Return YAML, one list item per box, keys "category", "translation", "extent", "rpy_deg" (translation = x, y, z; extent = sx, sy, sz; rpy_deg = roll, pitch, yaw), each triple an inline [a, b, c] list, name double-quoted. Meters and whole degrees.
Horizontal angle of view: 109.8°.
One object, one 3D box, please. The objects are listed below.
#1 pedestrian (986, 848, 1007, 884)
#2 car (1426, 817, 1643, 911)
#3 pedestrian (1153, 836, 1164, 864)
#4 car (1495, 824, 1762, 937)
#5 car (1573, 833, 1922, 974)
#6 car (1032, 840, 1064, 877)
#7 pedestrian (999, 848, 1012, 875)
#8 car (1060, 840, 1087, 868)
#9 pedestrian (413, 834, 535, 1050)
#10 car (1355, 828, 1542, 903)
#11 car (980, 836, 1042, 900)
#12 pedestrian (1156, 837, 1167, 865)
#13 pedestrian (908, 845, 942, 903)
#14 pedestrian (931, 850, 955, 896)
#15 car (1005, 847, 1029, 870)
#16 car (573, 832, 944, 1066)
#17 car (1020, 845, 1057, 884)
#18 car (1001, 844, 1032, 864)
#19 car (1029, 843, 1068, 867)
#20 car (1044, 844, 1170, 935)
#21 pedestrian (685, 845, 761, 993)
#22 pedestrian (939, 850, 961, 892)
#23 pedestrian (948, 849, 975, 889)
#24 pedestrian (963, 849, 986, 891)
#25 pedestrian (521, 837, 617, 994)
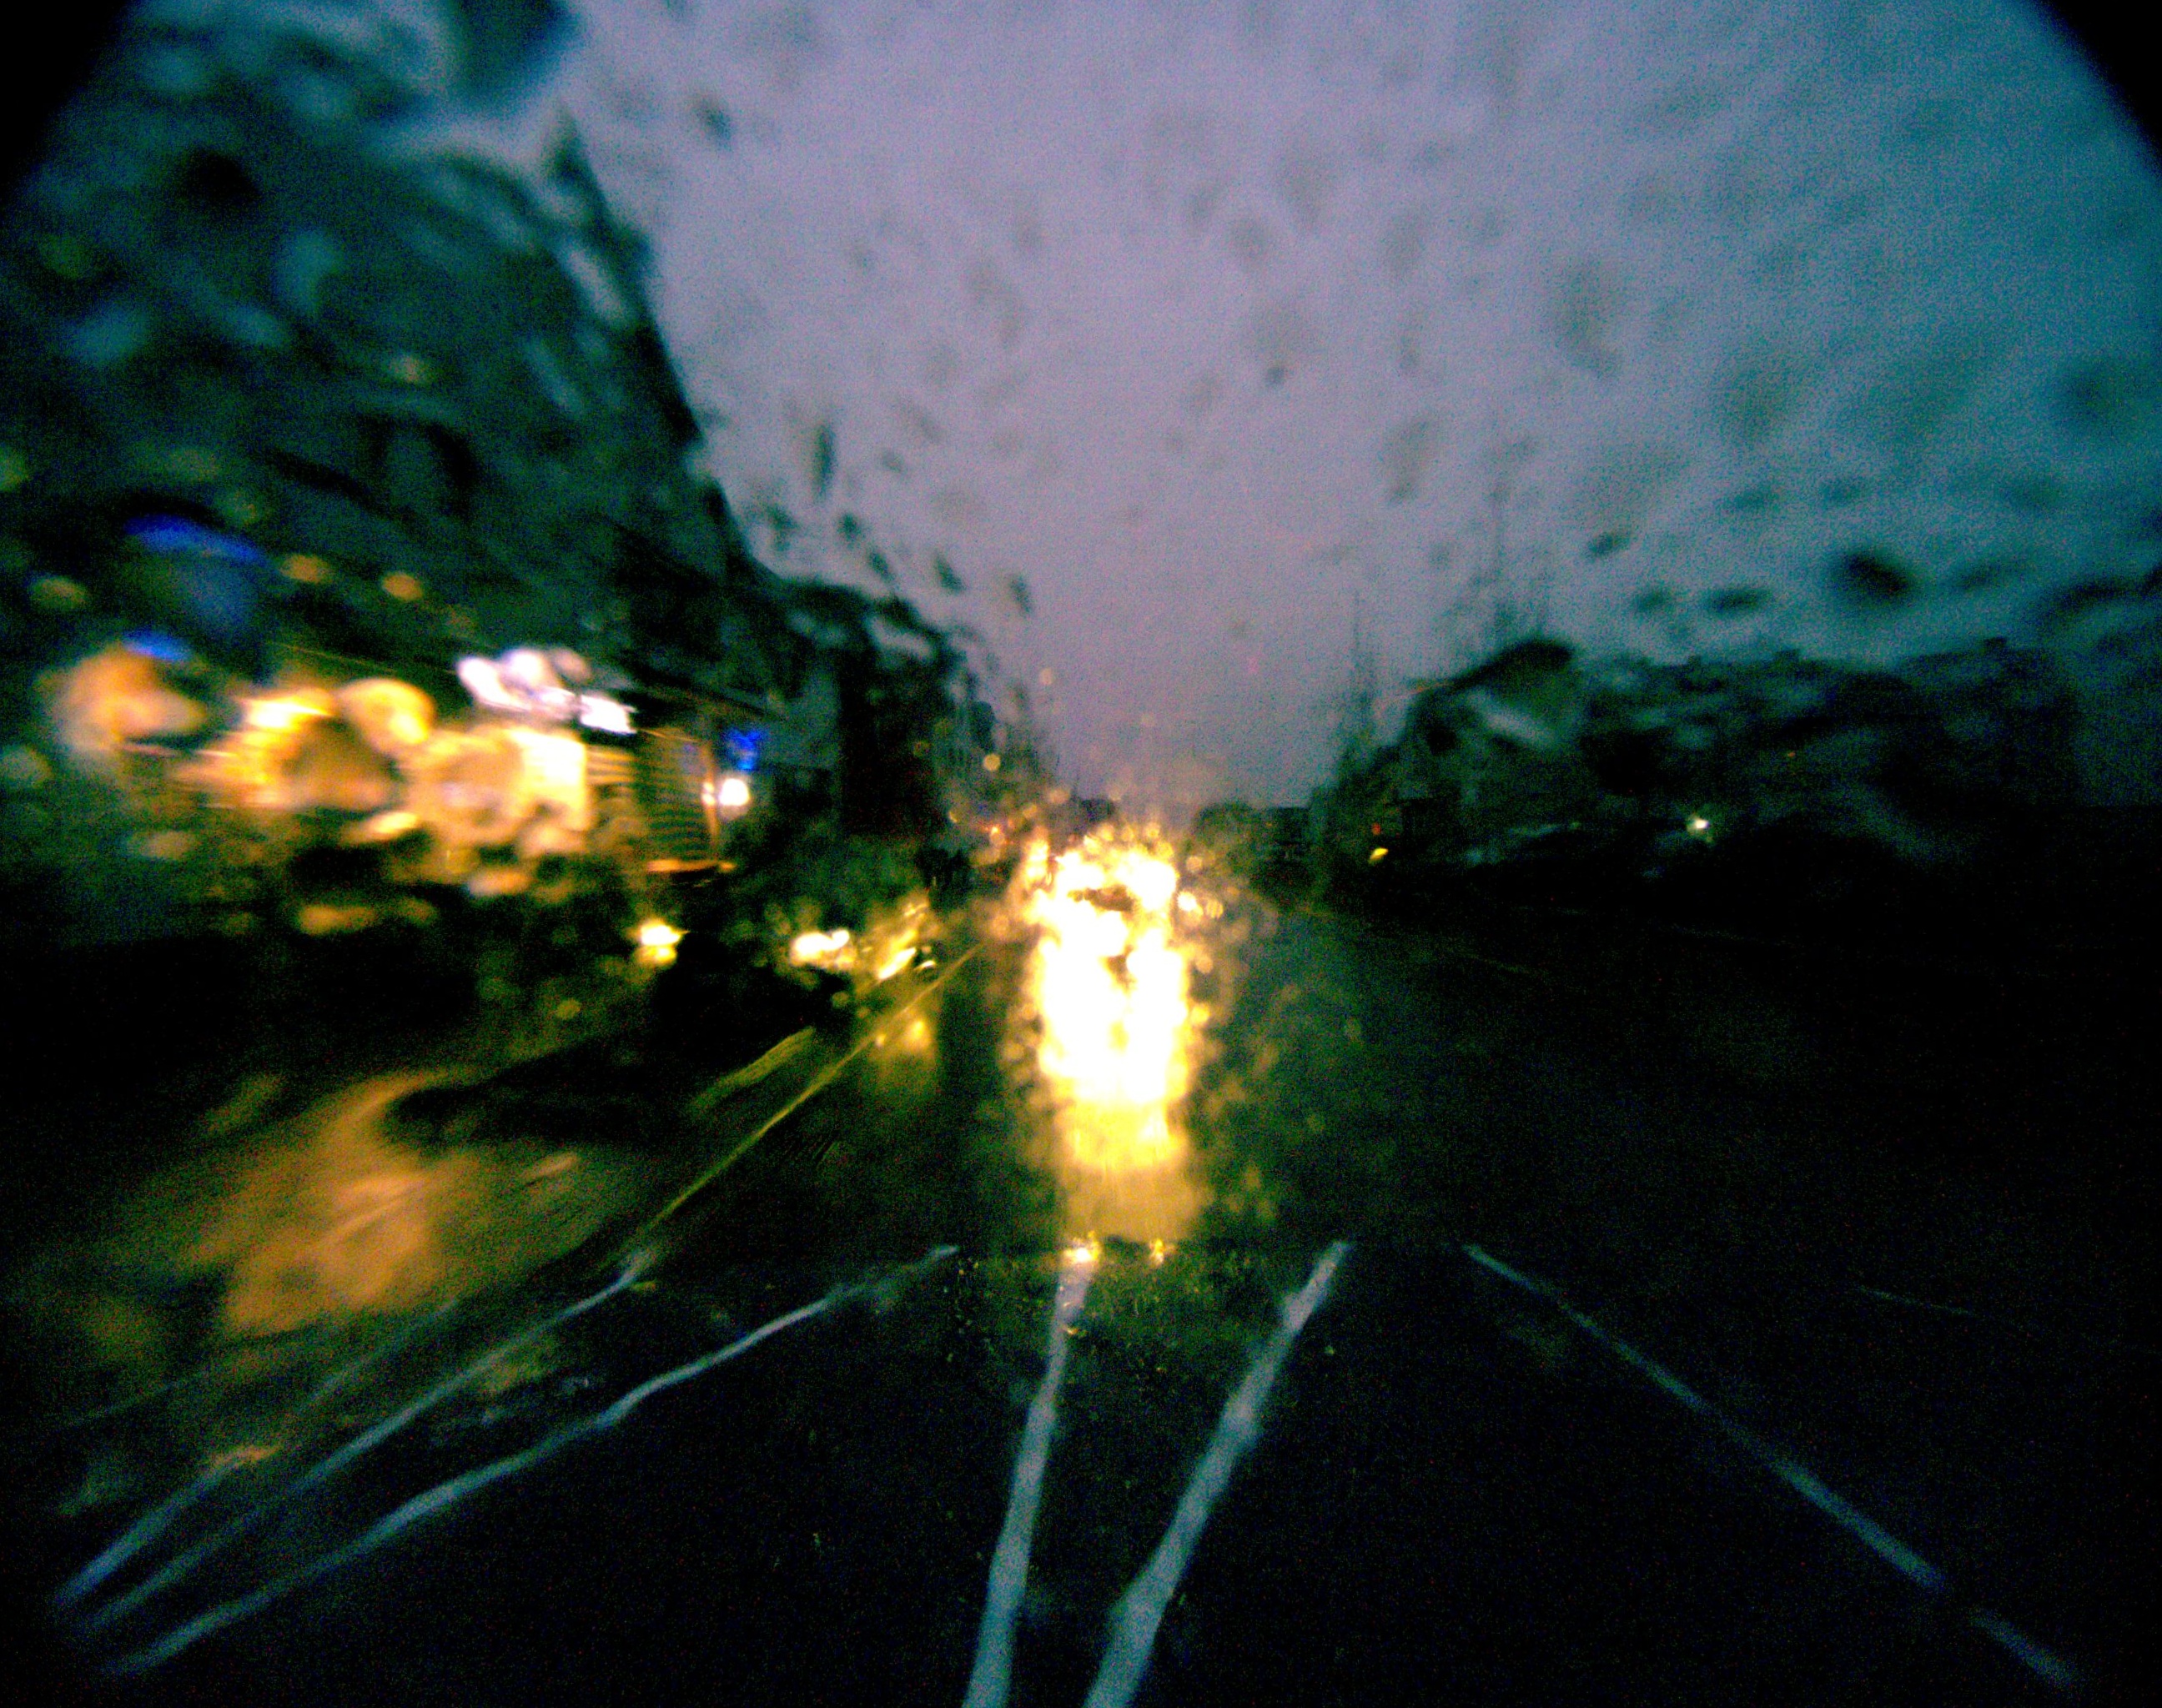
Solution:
- category: "pedestrian"
  translation: [-4.155, 0.587, 37.333]
  extent: [0.860, 1.713, 0.929]
  rpy_deg: [-2, 1, 1]
- category: "car"
  translation: [10.093, 0.213, 17.116]
  extent: [3.805, 1.940, 1.749]
  rpy_deg: [1, 0, 0]
- category: "pedestrian"
  translation: [5.608, -0.315, 55.150]
  extent: [0.674, 2.002, 0.604]
  rpy_deg: [-2, 1, 0]
- category: "car"
  translation: [10.270, 0.480, 14.473]
  extent: [3.805, 1.940, 1.749]
  rpy_deg: [1, 0, 0]
- category: "car"
  translation: [10.034, 0.713, 11.671]
  extent: [3.805, 1.940, 1.749]
  rpy_deg: [1, 0, 0]
- category: "car"
  translation: [-1.826, 0.226, 42.985]
  extent: [1.531, 2.002, 4.000]
  rpy_deg: [-1, 0, 1]
- category: "pedestrian"
  translation: [-4.549, 0.453, 45.683]
  extent: [0.656, 1.596, 0.723]
  rpy_deg: [-1, 1, 3]
- category: "car"
  translation: [-0.597, 0.015, 57.347]
  extent: [1.999, 2.002, 4.773]
  rpy_deg: [-1, 0, -1]
- category: "pedestrian"
  translation: [-5.270, 0.728, 6.613]
  extent: [0.649, 1.786, 0.508]
  rpy_deg: [1, 0, 12]
- category: "car"
  translation: [9.636, 0.279, 20.149]
  extent: [3.997, 1.838, 1.976]
  rpy_deg: [-1, 1, 0]
- category: "car"
  translation: [-2.322, 0.449, 25.968]
  extent: [1.748, 2.002, 3.807]
  rpy_deg: [1, 0, 0]
- category: "pedestrian"
  translation: [5.935, -0.236, 55.892]
  extent: [0.666, 2.020, 0.548]
  rpy_deg: [-2, 1, -2]
- category: "pedestrian"
  translation: [-4.841, 0.605, 23.622]
  extent: [0.819, 1.754, 1.060]
  rpy_deg: [-1, 1, 0]
- category: "pedestrian"
  translation: [-4.956, 0.674, 27.339]
  extent: [0.656, 1.596, 0.723]
  rpy_deg: [-1, 1, 3]
- category: "car"
  translation: [-5.196, 0.355, 62.160]
  extent: [1.781, 1.805, 3.999]
  rpy_deg: [-1, 0, -2]
- category: "car"
  translation: [-2.881, 0.723, 8.096]
  extent: [1.998, 1.774, 4.519]
  rpy_deg: [-1, 0, 0]
- category: "car"
  translation: [-2.070, 0.503, 37.511]
  extent: [1.531, 1.805, 4.000]
  rpy_deg: [-1, 0, 1]
- category: "car"
  translation: [-6.589, 0.020, 77.068]
  extent: [2.002, 2.002, 4.300]
  rpy_deg: [-1, 0, -22]
- category: "car"
  translation: [-2.860, 0.120, 65.970]
  extent: [1.869, 2.002, 3.835]
  rpy_deg: [-1, 0, -28]
- category: "car"
  translation: [0.696, 0.621, 16.420]
  extent: [2.269, 1.633, 5.067]
  rpy_deg: [-1, 1, 5]
- category: "pedestrian"
  translation: [-4.283, 0.759, 9.108]
  extent: [0.650, 1.711, 0.469]
  rpy_deg: [1, 0, 6]
- category: "pedestrian"
  translation: [-5.054, 0.655, 29.307]
  extent: [0.656, 1.596, 0.723]
  rpy_deg: [-1, 1, 3]
- category: "pedestrian"
  translation: [-5.359, 0.667, 34.246]
  extent: [0.974, 1.713, 1.026]
  rpy_deg: [-2, 1, 1]
- category: "pedestrian"
  translation: [-4.102, 0.618, 29.372]
  extent: [0.731, 1.596, 0.723]
  rpy_deg: [-1, 1, 3]
- category: "pedestrian"
  translation: [-5.825, 0.674, 8.674]
  extent: [0.609, 1.711, 0.651]
  rpy_deg: [1, 0, 6]
